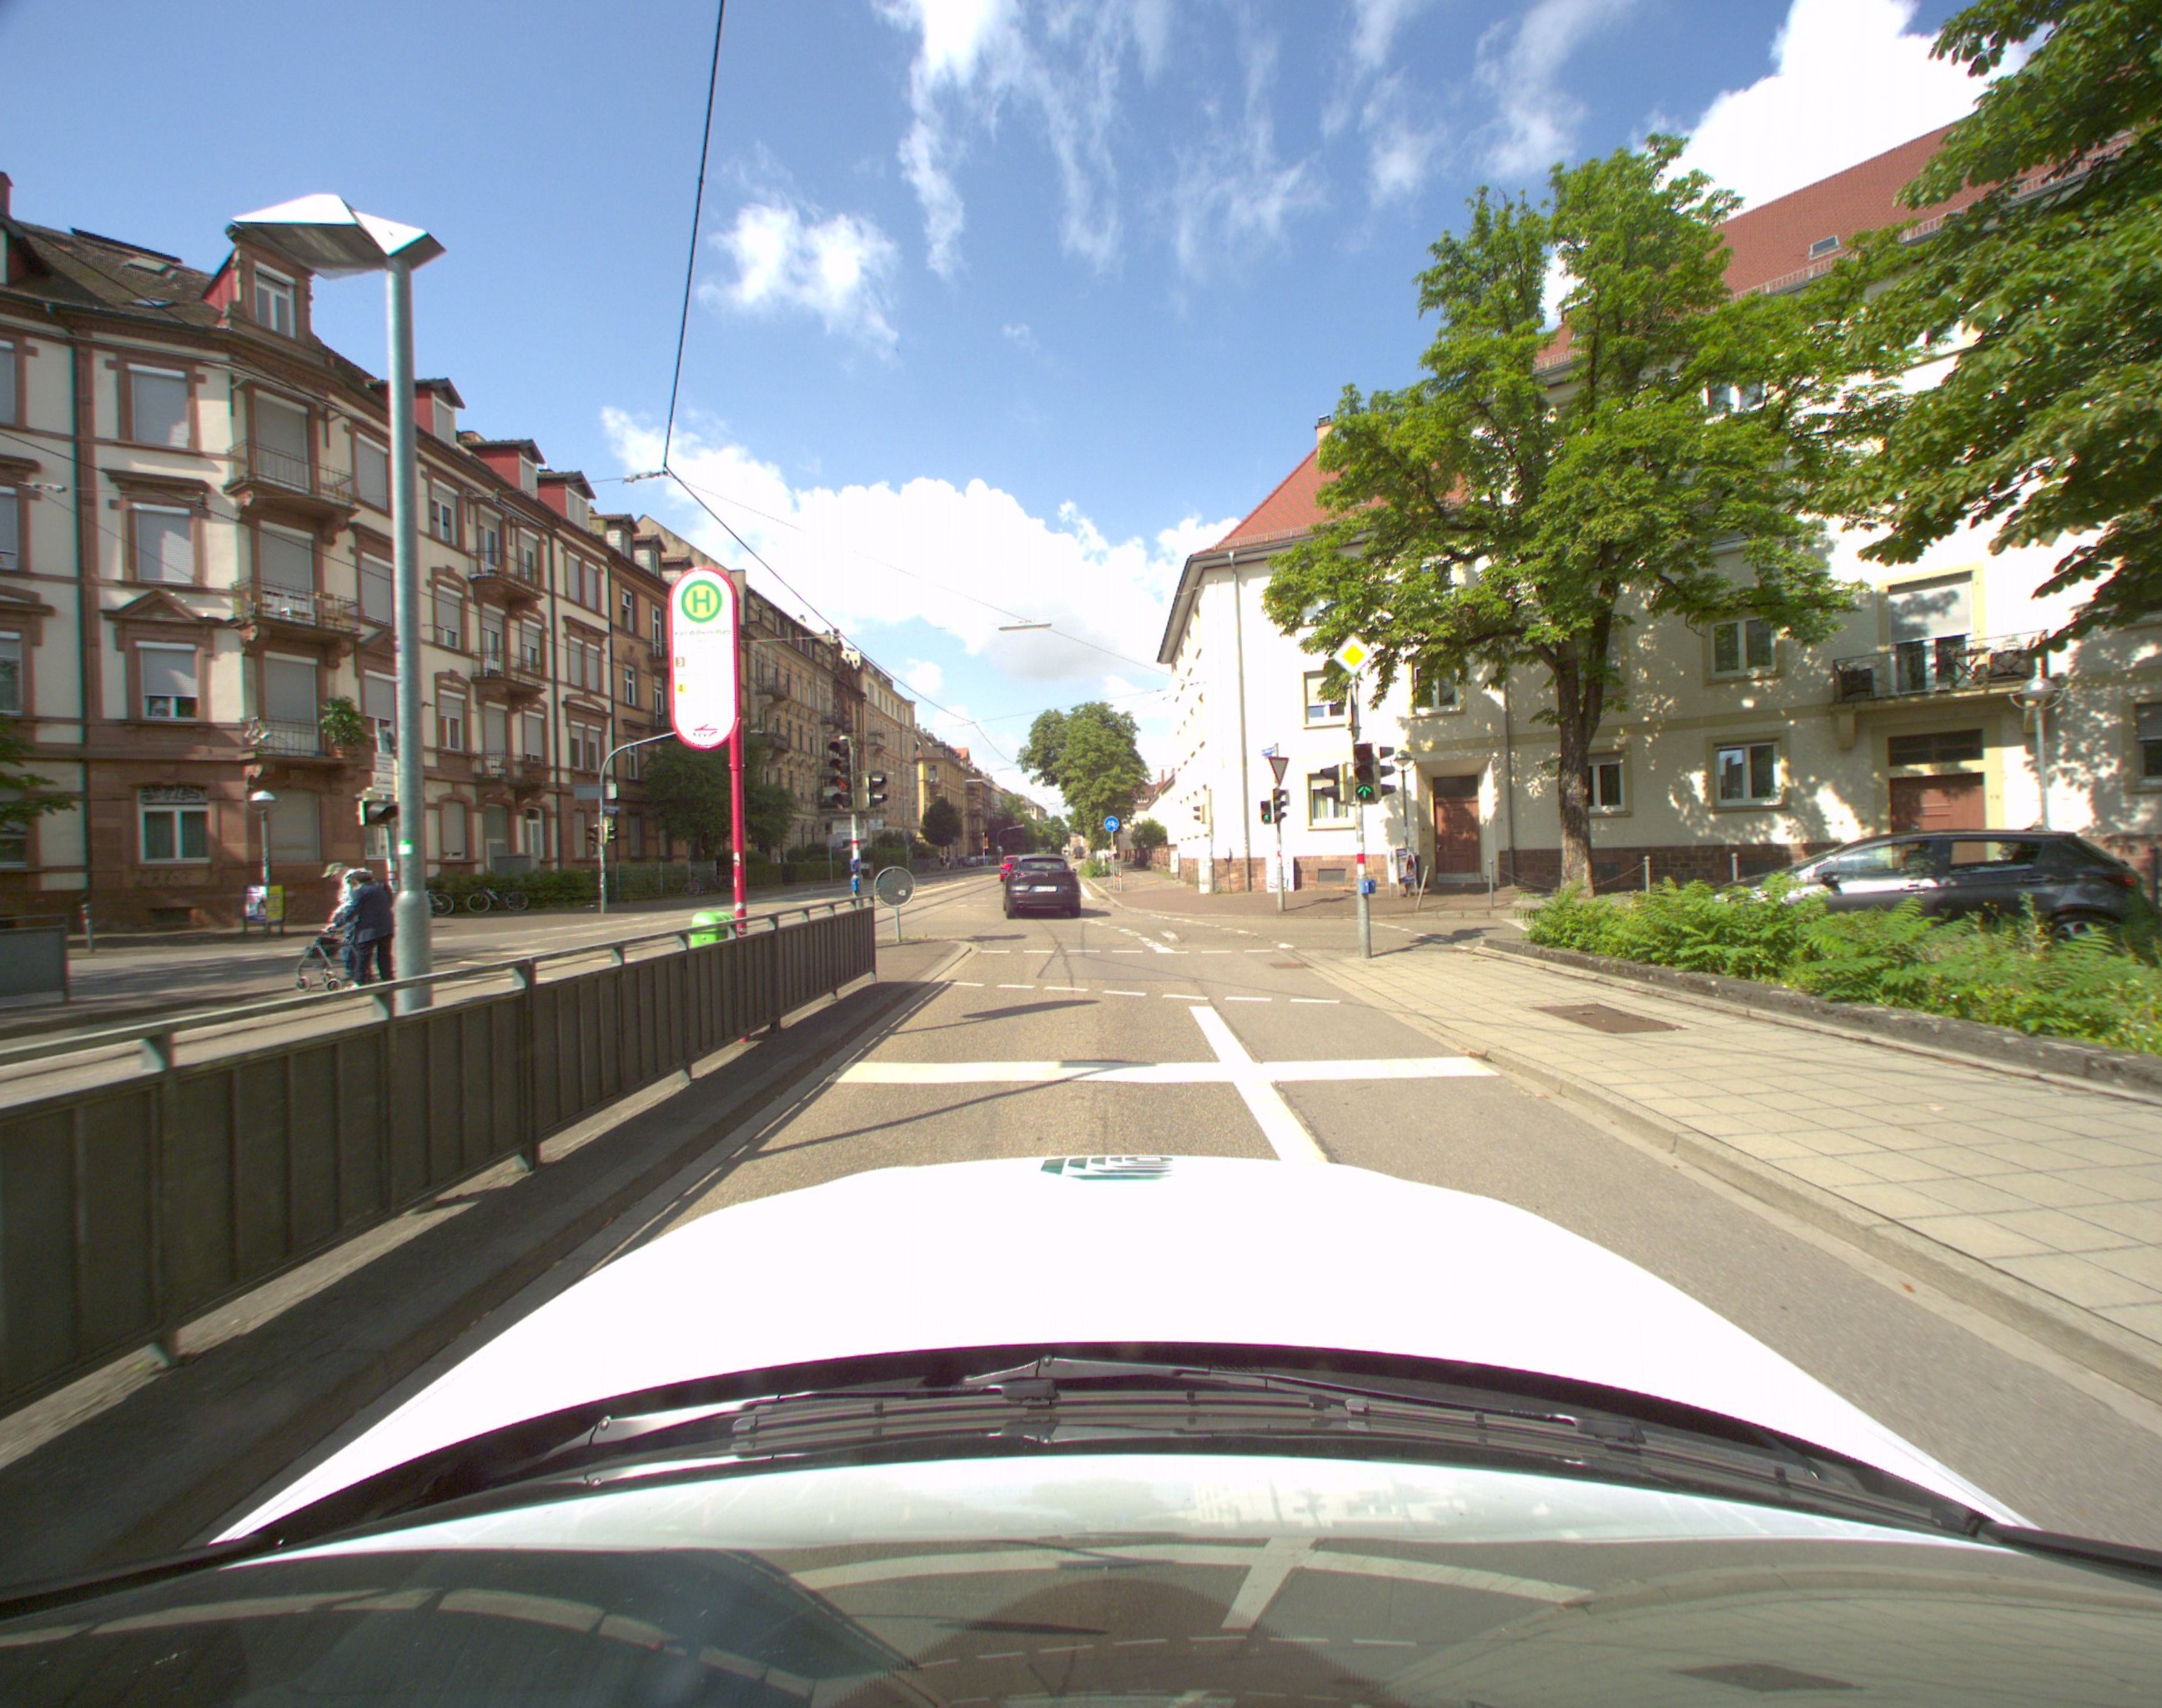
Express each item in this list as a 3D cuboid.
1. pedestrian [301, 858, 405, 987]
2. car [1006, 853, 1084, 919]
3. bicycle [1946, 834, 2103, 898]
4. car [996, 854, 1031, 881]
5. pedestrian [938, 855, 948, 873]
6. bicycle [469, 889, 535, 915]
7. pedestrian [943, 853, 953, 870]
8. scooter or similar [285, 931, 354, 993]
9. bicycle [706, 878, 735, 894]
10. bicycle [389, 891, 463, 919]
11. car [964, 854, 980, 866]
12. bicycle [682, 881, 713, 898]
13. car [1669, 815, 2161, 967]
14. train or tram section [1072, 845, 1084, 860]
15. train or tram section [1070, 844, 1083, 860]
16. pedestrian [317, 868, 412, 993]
[{"bbox_3d":[-9.929,0.909,11.135,0.768,1.674,0.668,-2,0,0],"label":"pedestrian"},{"bbox_3d":[-1.017,0.732,20.773,1.779,1.514,3.992,0,0,-6],"label":"car"},{"bbox_3d":[16.455,0.211,14.246,0.569,1.020,1.734,-4,1,-36],"label":"bicycle"},{"bbox_3d":[-3.916,0.761,46.887,1.774,1.464,3.832,0,0,-8],"label":"car"},{"bbox_3d":[-13.133,0.940,77.619,0.784,1.688,0.732,-2,0,3],"label":"pedestrian"},{"bbox_3d":[-19.030,1.575,26.810,0.381,0.747,1.722,-2,0,37],"label":"bicycle"},{"bbox_3d":[-13.603,0.742,83.206,0.784,1.688,0.732,-2,0,3],"label":"pedestrian"},{"bbox_3d":[-9.861,1.391,10.552,0.412,0.721,0.486,-2,0,1],"label":"scooter or similar"},{"bbox_3d":[-16.520,1.454,37.329,0.383,0.677,1.714,-2,0,6],"label":"bicycle"},{"bbox_3d":[-20.236,1.567,25.193,0.381,0.747,1.722,-2,0,37],"label":"bicycle"},{"bbox_3d":[-15.542,0.865,116.265,1.651,1.596,3.930,-2,0,1],"label":"car"},{"bbox_3d":[-16.523,1.526,35.120,0.383,0.653,1.714,-2,0,6],"label":"bicycle"},{"bbox_3d":[10.105,0.381,10.259,4.119,1.509,1.863,-2,2,43],"label":"car"},{"bbox_3d":[-0.876,-0.431,236.553,2.987,3.983,13.811,-2,-1,1],"label":"train or tram section"},{"bbox_3d":[-1.230,-0.554,222.791,2.987,3.983,13.811,-2,-1,1],"label":"train or tram section"},{"bbox_3d":[-9.326,0.973,10.616,0.665,1.546,0.581,-2,0,0],"label":"pedestrian"}]
